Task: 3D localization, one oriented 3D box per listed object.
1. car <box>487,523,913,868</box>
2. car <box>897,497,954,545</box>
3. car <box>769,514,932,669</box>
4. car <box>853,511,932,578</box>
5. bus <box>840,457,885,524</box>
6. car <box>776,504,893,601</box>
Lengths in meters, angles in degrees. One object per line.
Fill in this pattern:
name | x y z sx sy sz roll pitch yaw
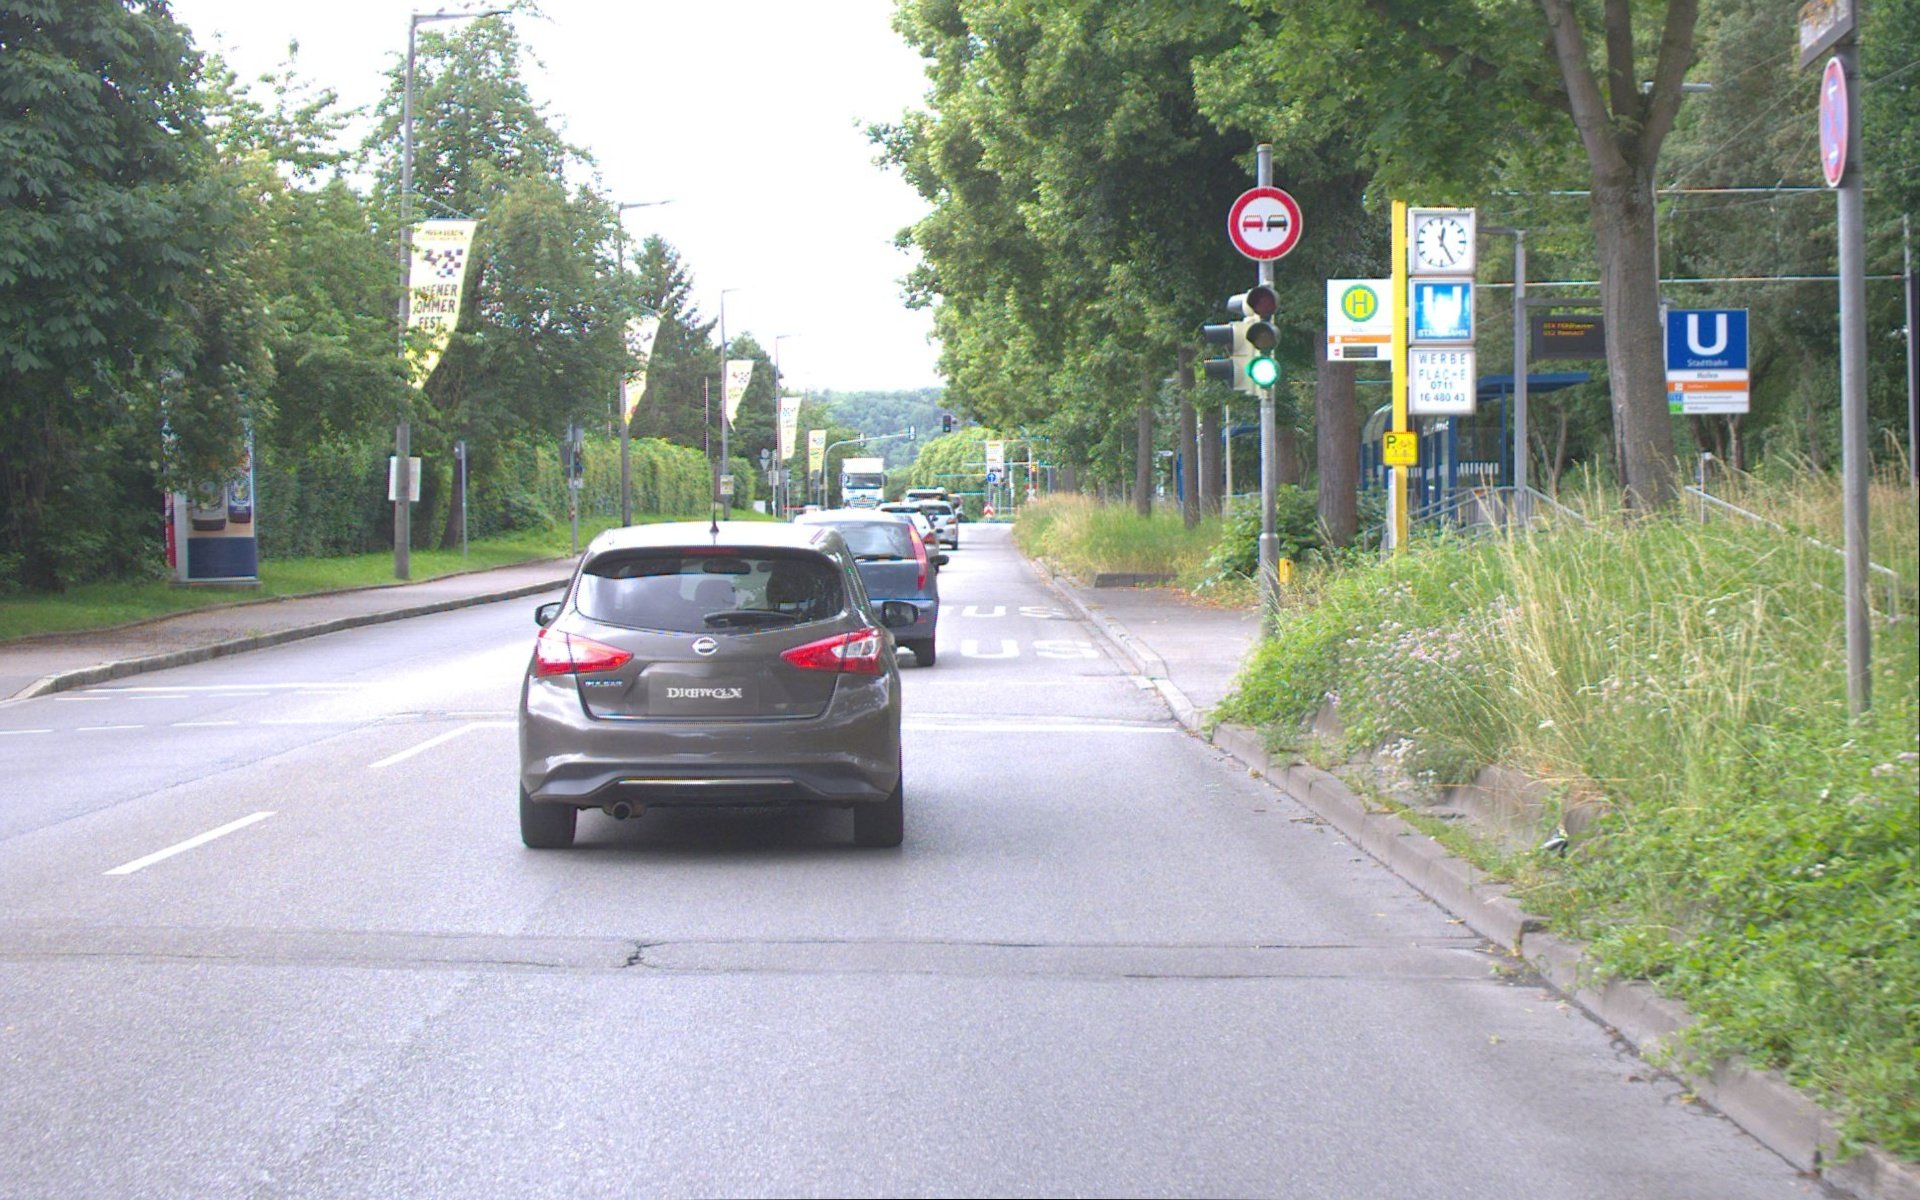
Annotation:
car | -1.166 0.388 16.901 1.783 1.501 3.696 0 1 0
car | -1.045 -2.423 105.203 1.691 1.436 3.542 0 1 0
car | -1.032 -0.116 33.695 1.502 1.436 3.542 0 1 0
car | -1.462 -1.232 75.714 1.691 1.436 3.542 0 1 0
bus | -6.048 -6.808 214.450 2.487 4.012 10.218 0 2 0
car | -1.896 -0.742 52.786 1.691 1.436 3.542 0 1 0
